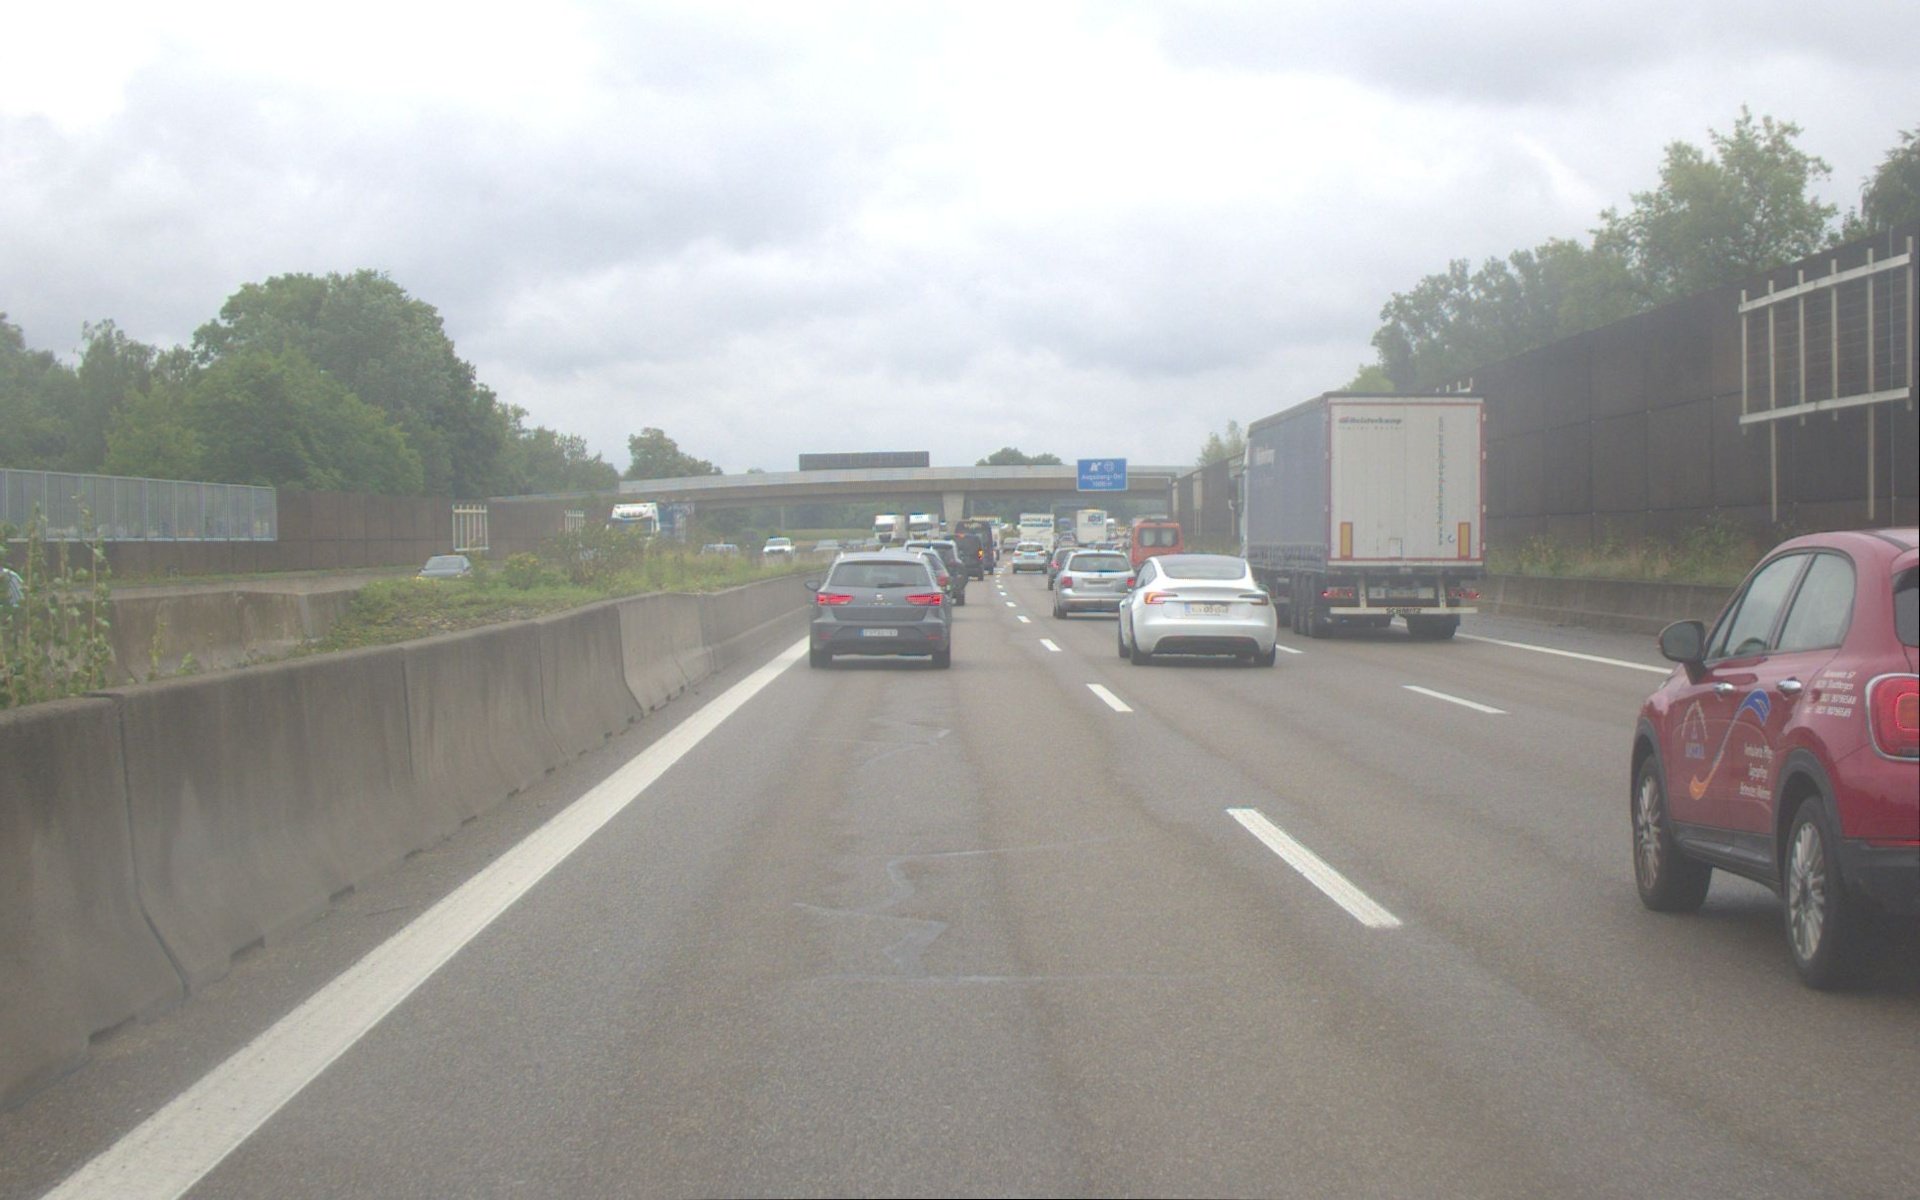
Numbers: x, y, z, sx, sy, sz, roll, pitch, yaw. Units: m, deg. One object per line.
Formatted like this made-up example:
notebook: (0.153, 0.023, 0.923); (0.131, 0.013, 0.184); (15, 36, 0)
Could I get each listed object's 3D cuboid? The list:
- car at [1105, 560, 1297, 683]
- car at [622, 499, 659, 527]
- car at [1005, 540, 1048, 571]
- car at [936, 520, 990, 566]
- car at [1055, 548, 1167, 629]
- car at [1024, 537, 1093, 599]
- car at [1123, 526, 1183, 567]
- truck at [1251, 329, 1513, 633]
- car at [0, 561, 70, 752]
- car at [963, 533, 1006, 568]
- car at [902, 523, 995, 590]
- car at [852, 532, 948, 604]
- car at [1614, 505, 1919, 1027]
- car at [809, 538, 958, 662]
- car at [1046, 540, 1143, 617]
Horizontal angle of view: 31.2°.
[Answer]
car: (3.084, 0.246, 44.770); (1.993, 1.481, 4.001); (0, 1, -3)
car: (-17.828, -4.869, 191.858); (1.993, 1.514, 4.001); (0, 1, -6)
car: (3.377, -2.269, 174.398); (1.993, 1.514, 4.000); (0, 1, -1)
car: (0.105, -2.312, 139.547); (1.993, 1.809, 4.001); (1, 1, -3)
car: (2.963, -0.255, 68.041); (1.993, 1.514, 4.000); (0, 1, 0)
car: (3.262, -1.078, 114.550); (1.993, 2.007, 4.001); (1, 1, -3)
car: (7.417, -2.071, 132.362); (1.993, 1.514, 4.000); (0, 1, -1)
truck: (6.976, -1.930, 57.987); (3.044, 4.718, 7.681); (1, 1, -3)
car: (-11.196, 0.581, 37.419); (1.993, 2.007, 4.000); (1, 1, -1)
car: (1.165, -2.393, 165.578); (1.993, 1.618, 4.000); (0, 1, 0)
car: (-0.303, -1.076, 83.790); (1.993, 1.579, 4.001); (-1, 1, -4)
car: (-1.223, -0.662, 69.098); (1.781, 1.401, 3.627); (0, 1, -3)
car: (3.779, 0.508, 12.818); (1.957, 1.641, 4.000); (0, 1, 1)
car: (-0.996, -0.035, 43.006); (1.763, 1.448, 4.001); (1, 1, -2)
car: (2.786, -0.475, 71.995); (1.702, 1.538, 3.839); (0, 1, -3)
